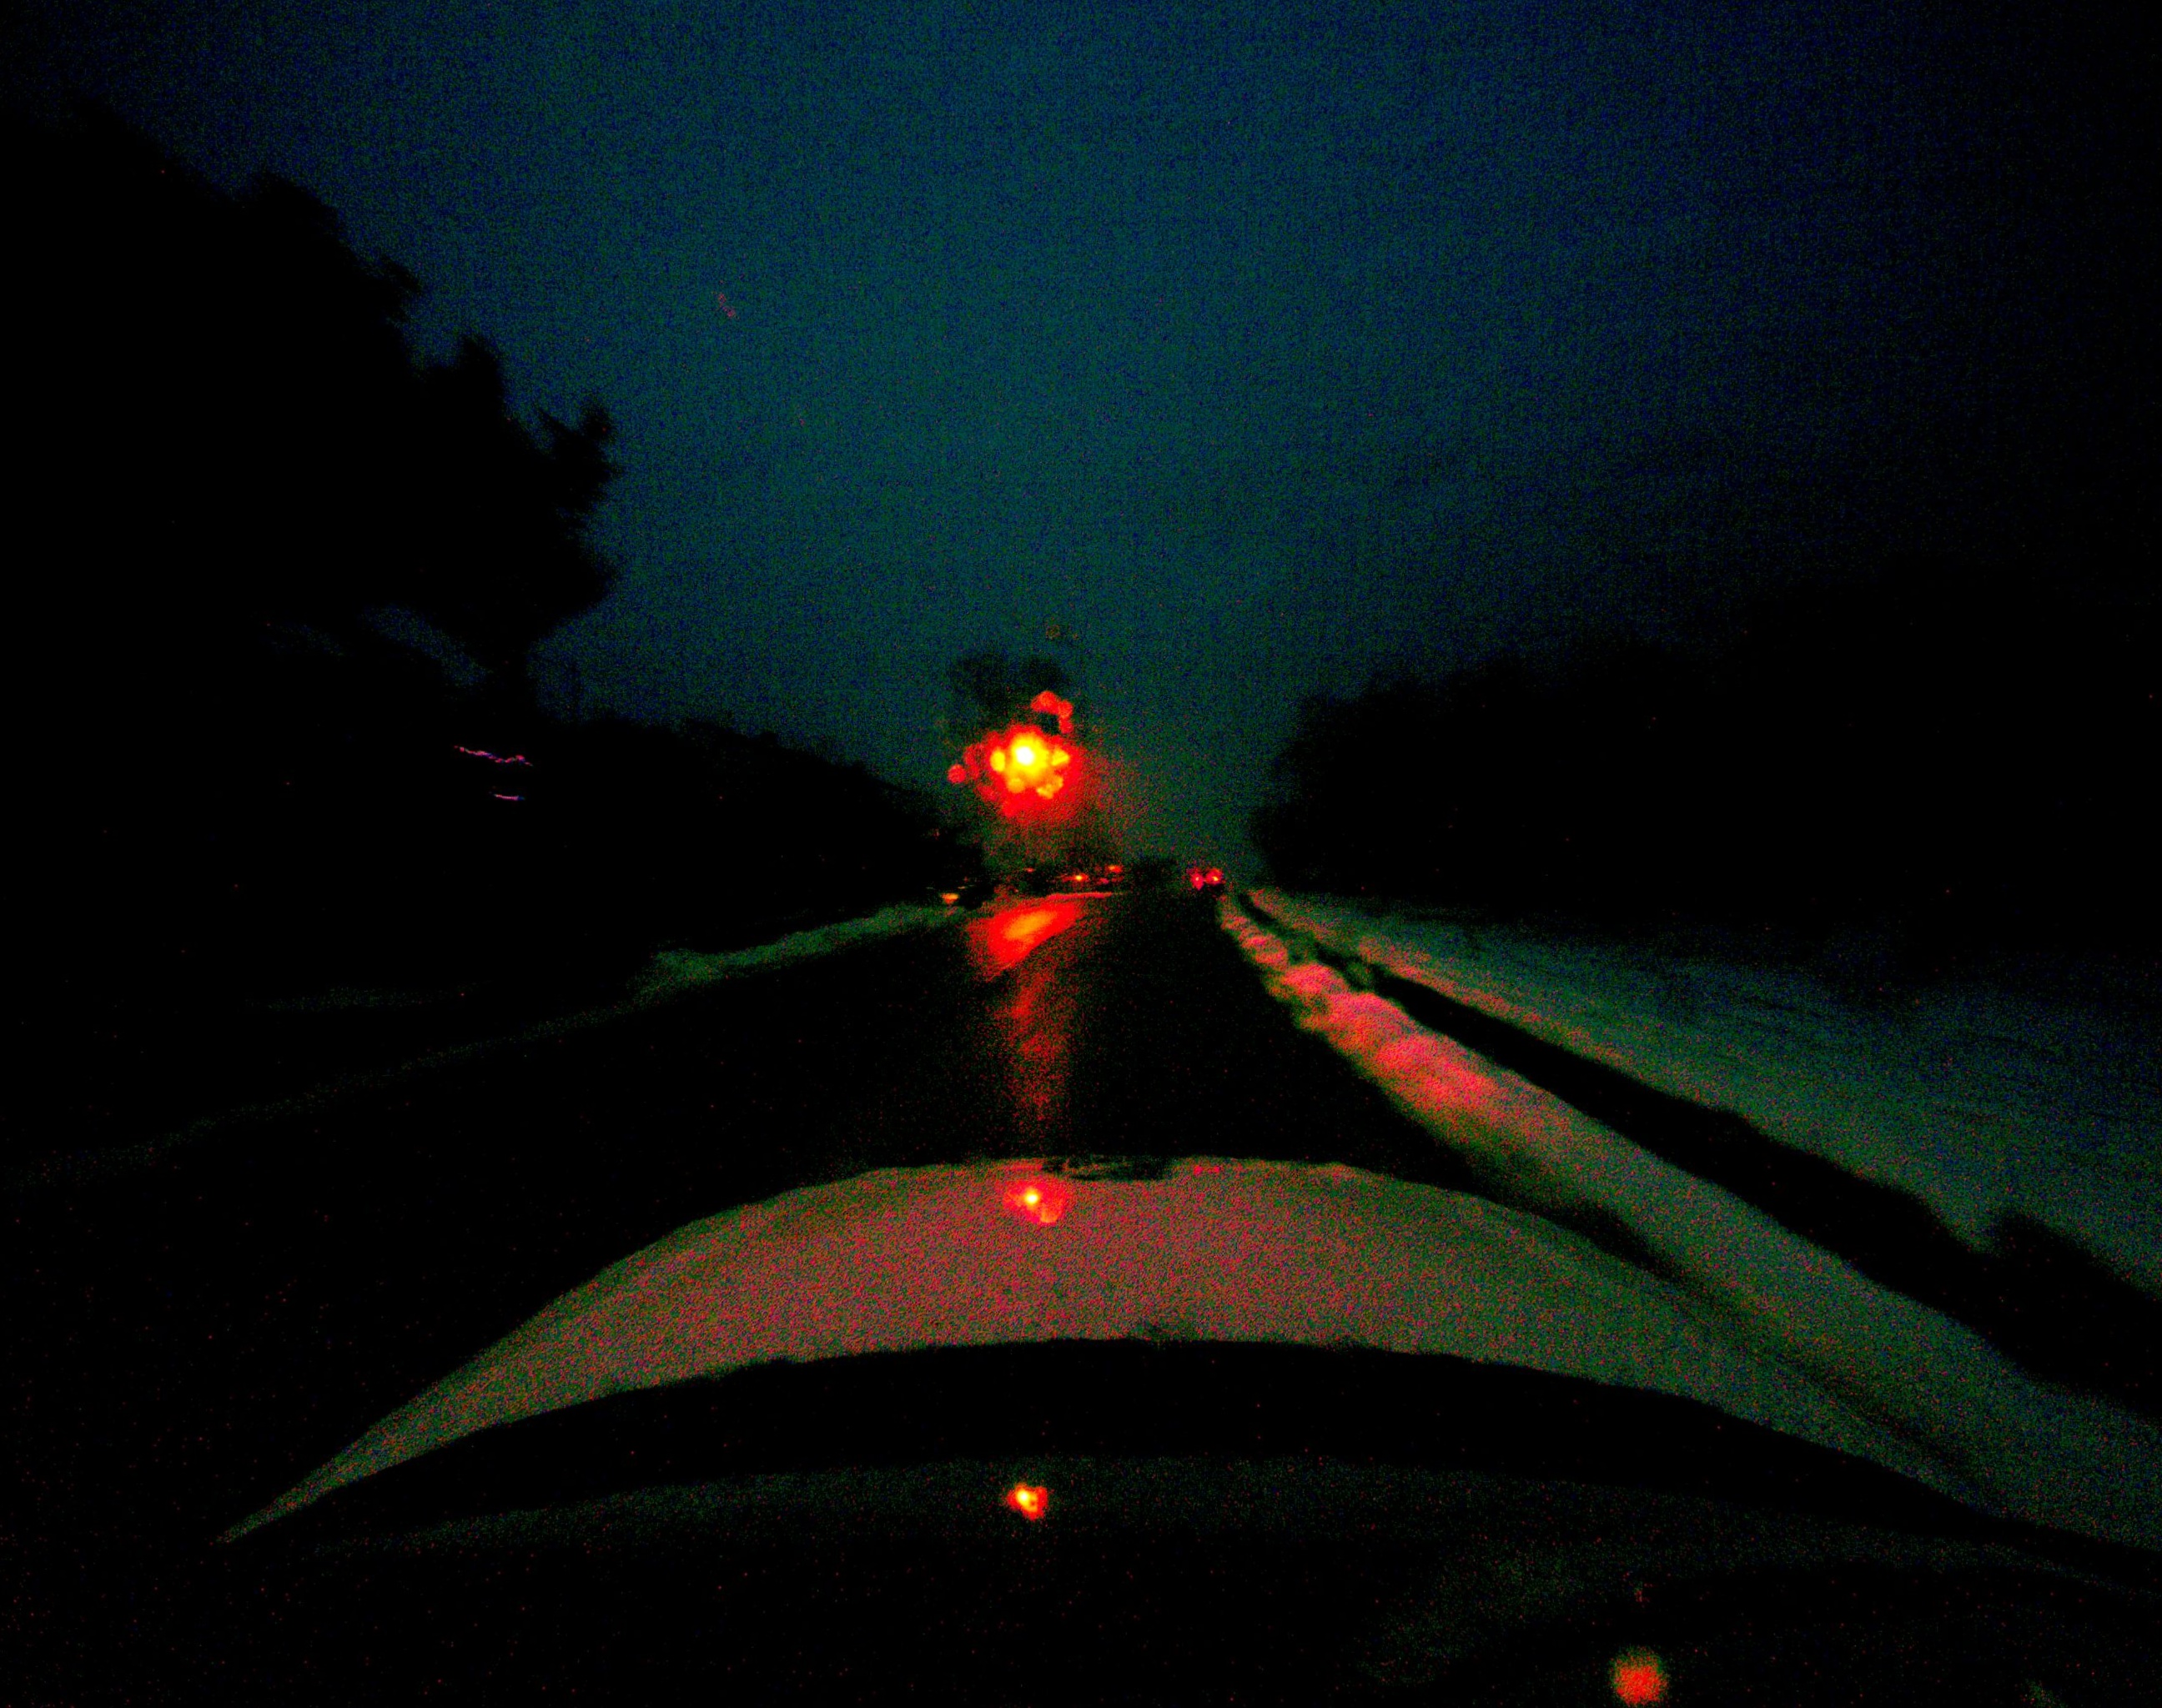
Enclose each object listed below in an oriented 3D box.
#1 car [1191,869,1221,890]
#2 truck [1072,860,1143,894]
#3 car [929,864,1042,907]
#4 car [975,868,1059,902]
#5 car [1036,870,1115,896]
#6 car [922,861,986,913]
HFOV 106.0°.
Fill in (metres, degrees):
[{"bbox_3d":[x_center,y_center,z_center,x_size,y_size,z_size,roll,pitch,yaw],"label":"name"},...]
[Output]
[{"bbox_3d":[8.851,1.821,57.478,1.981,1.420,4.011,0,-2,10],"label":"car"},{"bbox_3d":[2.100,1.796,63.491,5.231,2.303,2.004,-3,-2,8],"label":"truck"},{"bbox_3d":[-4.043,1.339,35.073,4.512,1.566,2.111,-3,-2,1],"label":"car"},{"bbox_3d":[-3.159,1.540,40.842,3.836,1.472,1.941,-3,-2,5],"label":"car"},{"bbox_3d":[-0.332,1.918,53.931,4.858,1.485,2.128,-3,-2,9],"label":"car"},{"bbox_3d":[-4.527,1.186,29.310,1.993,1.566,4.982,-4,-2,-8],"label":"car"}]
